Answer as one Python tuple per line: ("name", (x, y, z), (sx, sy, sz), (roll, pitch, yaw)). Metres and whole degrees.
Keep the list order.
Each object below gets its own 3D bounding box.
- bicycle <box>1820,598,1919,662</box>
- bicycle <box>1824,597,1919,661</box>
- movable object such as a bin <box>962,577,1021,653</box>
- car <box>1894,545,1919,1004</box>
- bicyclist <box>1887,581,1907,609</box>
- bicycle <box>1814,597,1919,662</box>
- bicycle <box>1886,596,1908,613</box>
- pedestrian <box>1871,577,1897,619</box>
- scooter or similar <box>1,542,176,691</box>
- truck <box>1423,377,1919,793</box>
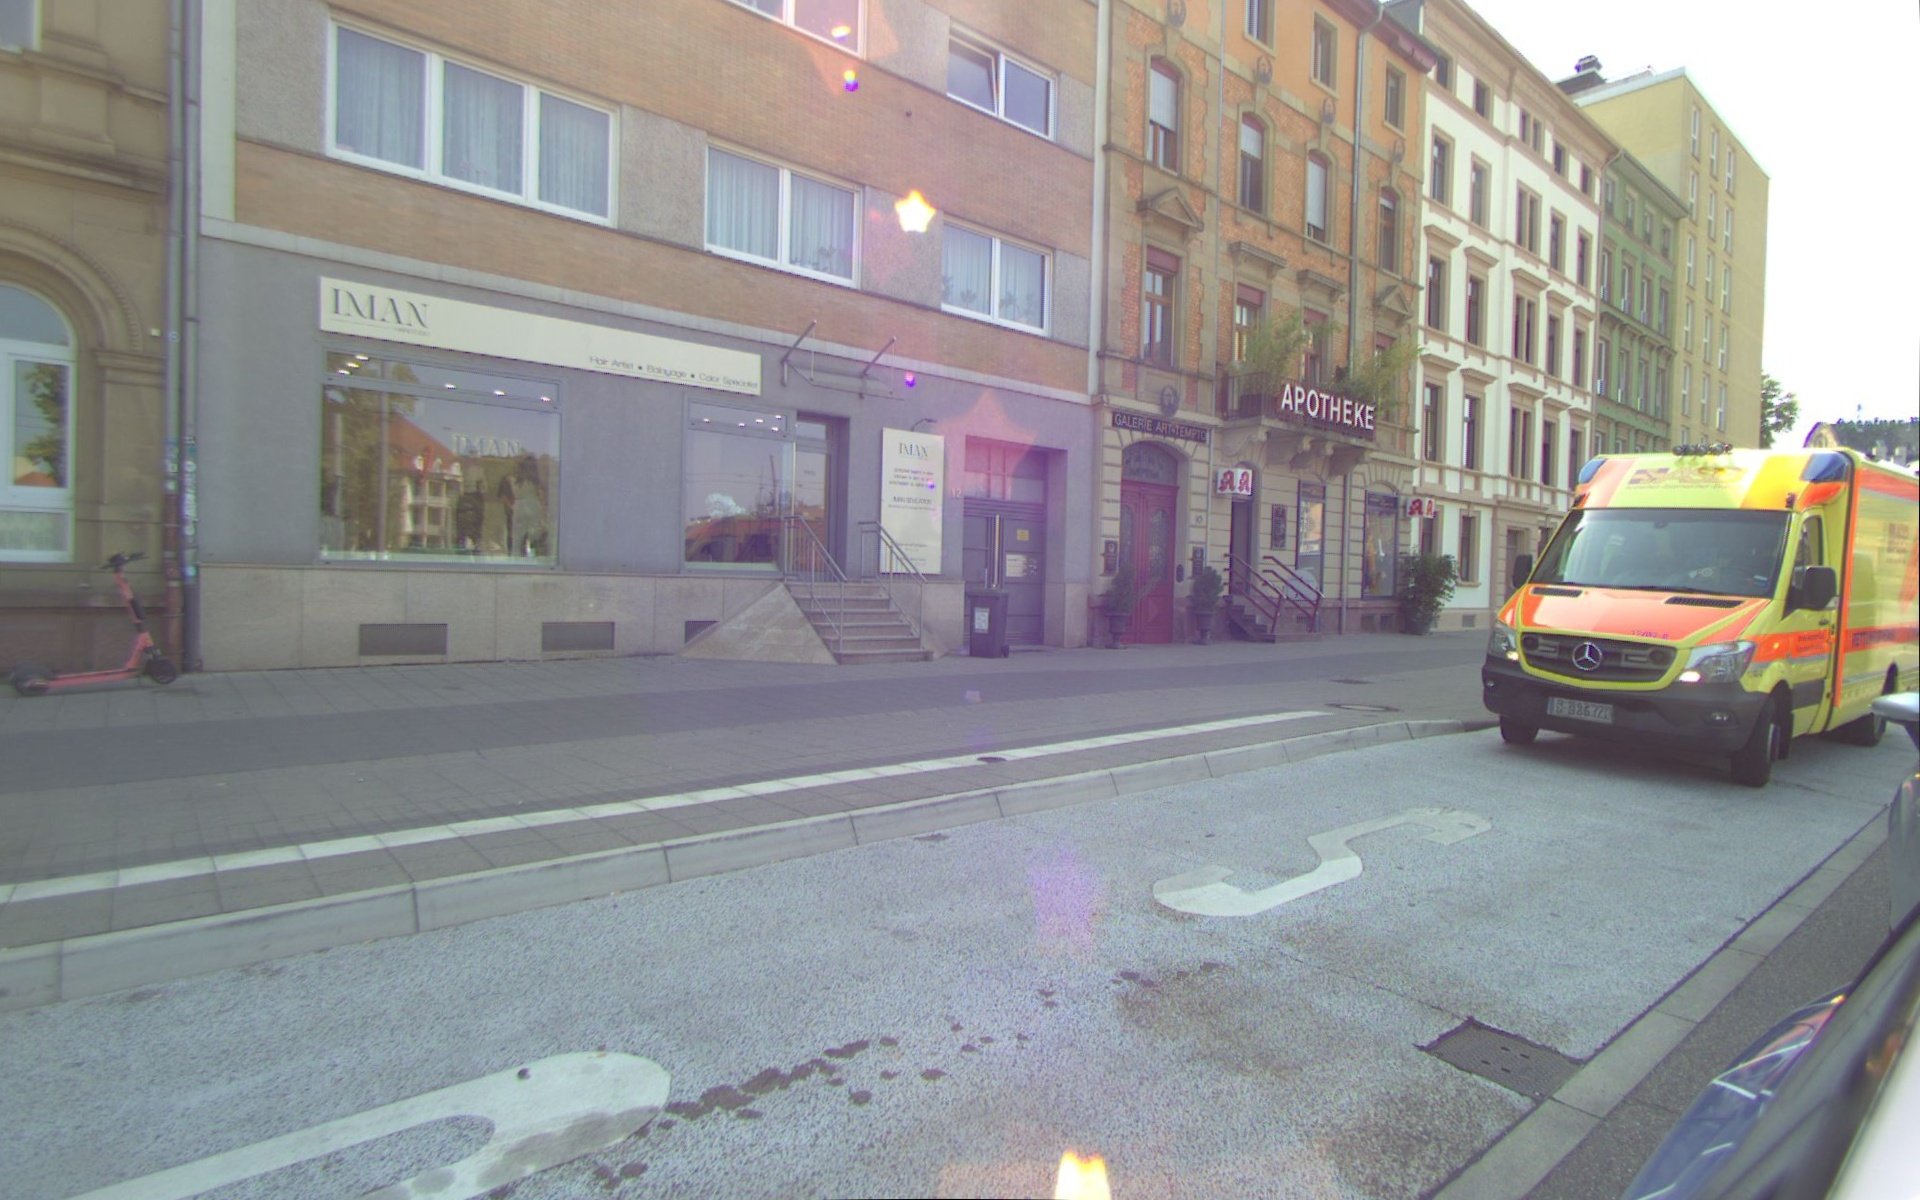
("bicycle", (18.318, 0.581, 20.109), (0.427, 1.219, 1.841), (1, 0, -39))
("bicycle", (18.664, 0.567, 20.401), (0.427, 1.235, 1.841), (1, 0, -39))
("movable object such as a bin", (0.498, 0.219, 15.648), (0.640, 1.118, 0.723), (3, 2, 24))
("car", (5.373, 0.627, 4.200), (3.929, 1.608, 1.728), (0, 1, -40))
("bicyclist", (56.368, -0.293, 60.861), (1.083, 1.606, 0.721), (1, 1, -40))
("bicycle", (17.981, 0.565, 19.844), (0.427, 1.219, 1.841), (1, 0, -39))
("bicycle", (56.364, 0.277, 60.868), (1.965, 0.965, 0.721), (1, 1, -40))
("pedestrian", (37.591, -0.079, 41.165), (0.783, 1.648, 0.645), (0, 2, -42))
("scooter or similar", (-7.645, 0.126, 8.900), (0.476, 1.227, 1.124), (3, 2, 45))
("truck", (7.227, -0.176, 9.636), (6.221, 2.803, 2.336), (0, 4, -37))
